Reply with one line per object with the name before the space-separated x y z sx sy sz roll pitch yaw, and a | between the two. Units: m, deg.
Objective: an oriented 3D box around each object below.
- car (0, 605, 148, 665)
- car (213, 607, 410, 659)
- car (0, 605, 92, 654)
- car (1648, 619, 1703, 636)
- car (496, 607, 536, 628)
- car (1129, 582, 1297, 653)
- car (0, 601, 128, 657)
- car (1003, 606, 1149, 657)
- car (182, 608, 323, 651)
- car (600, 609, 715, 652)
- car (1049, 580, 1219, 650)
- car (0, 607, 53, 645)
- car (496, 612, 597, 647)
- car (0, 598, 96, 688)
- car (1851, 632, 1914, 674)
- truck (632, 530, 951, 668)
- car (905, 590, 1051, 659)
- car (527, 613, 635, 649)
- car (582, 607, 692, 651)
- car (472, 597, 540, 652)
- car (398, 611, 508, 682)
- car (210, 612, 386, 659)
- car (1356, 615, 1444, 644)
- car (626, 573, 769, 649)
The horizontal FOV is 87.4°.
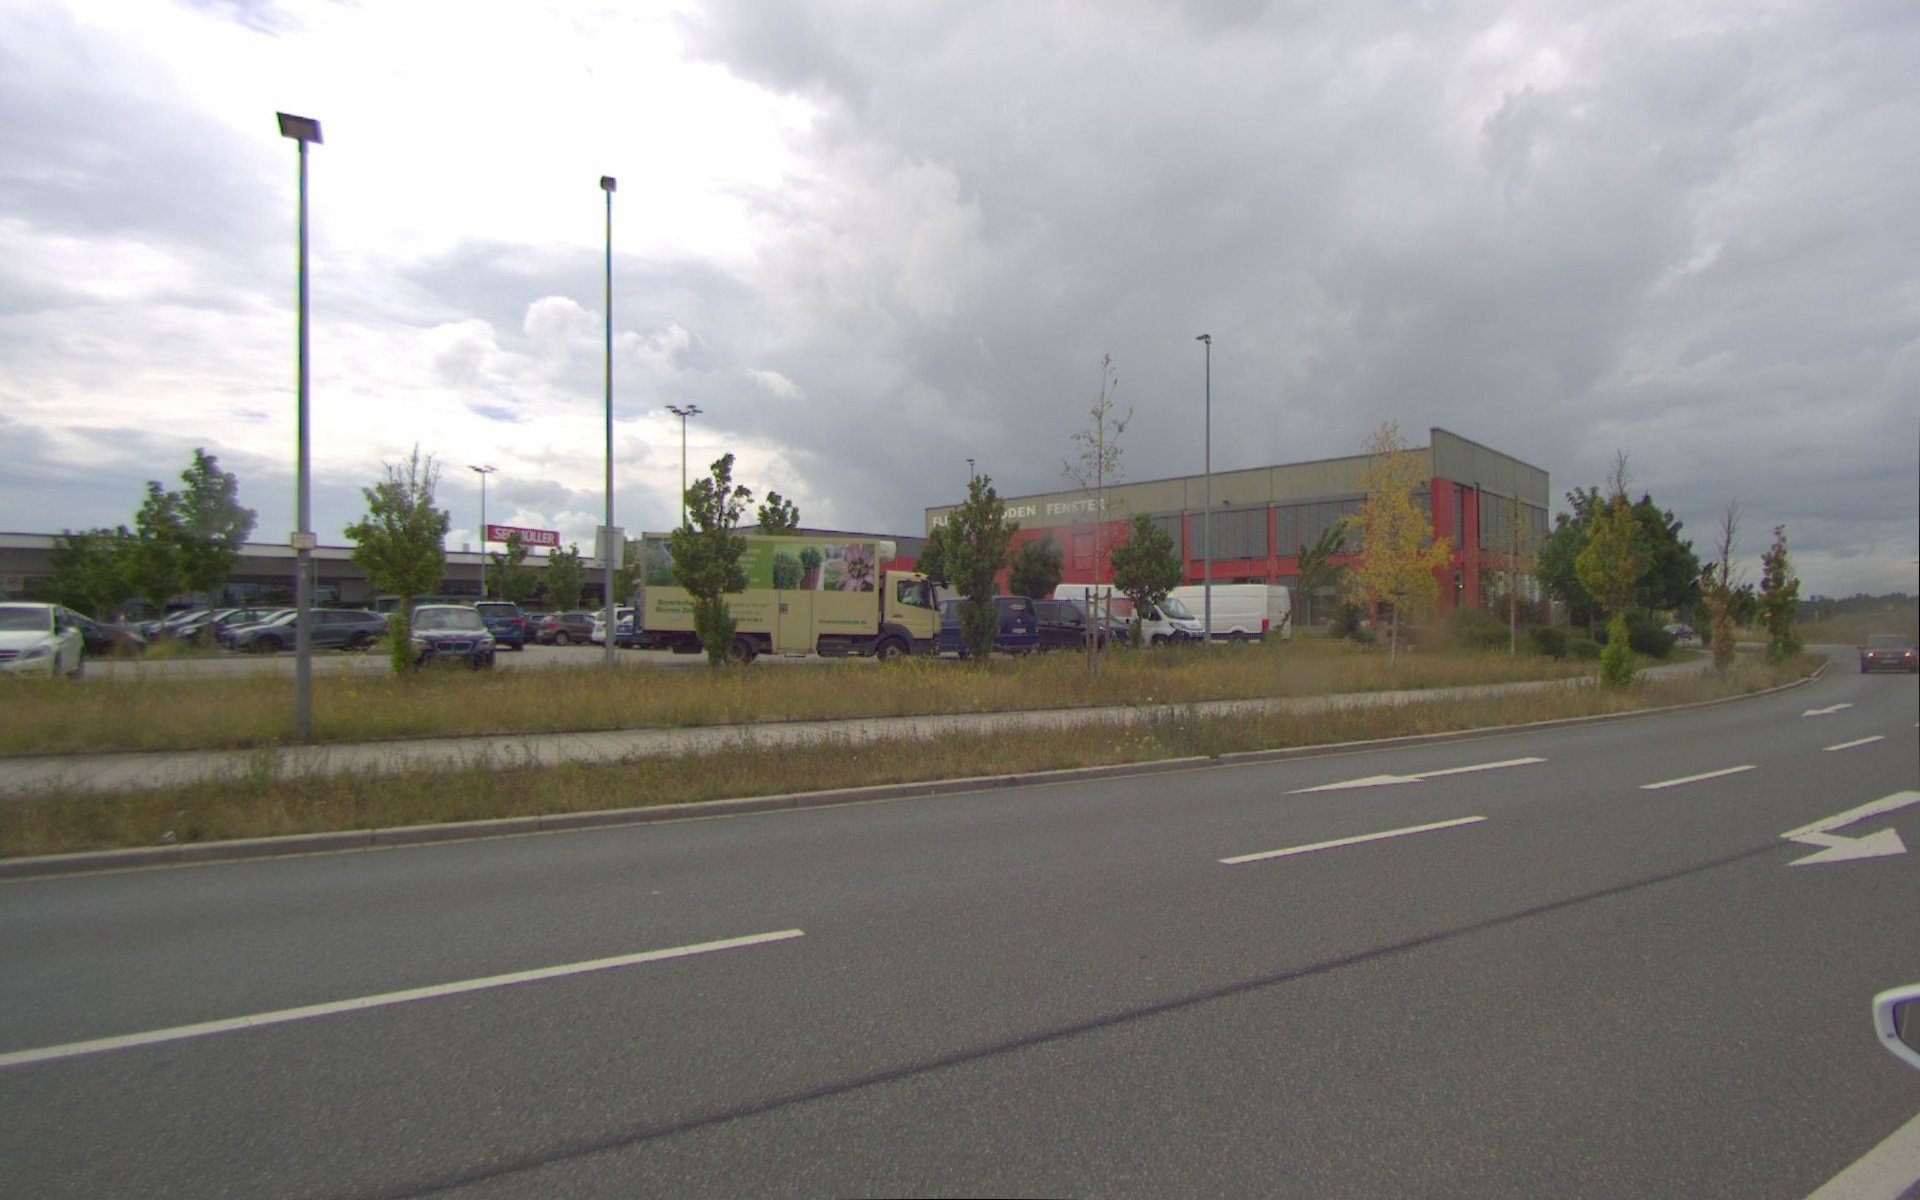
car | -26.065 0.981 28.909 1.972 1.628 3.978 -1 -2 42
car | -21.678 1.080 33.760 1.972 1.628 5.244 -1 -2 42
car | -32.133 0.999 33.998 1.971 1.628 3.978 -1 -2 42
car | 64.545 2.507 90.616 3.930 1.425 1.844 -1 -3 -12
car | -35.413 1.415 80.059 1.983 1.628 3.956 1 -2 -39
car | 9.977 0.707 40.074 2.228 2.633 6.347 1 -2 -43
car | -27.993 0.872 30.523 1.828 1.628 3.978 -1 -2 42
car | 3.945 1.066 34.706 4.850 1.638 1.983 -1 -2 44
car | -28.121 1.149 40.002 4.356 1.628 1.975 1 -2 -44
car | -12.025 1.211 40.124 1.972 1.628 3.978 -1 -2 42
car | 6.261 0.558 36.747 2.196 2.337 6.009 1 -2 -44
car | -45.352 1.208 47.134 1.972 1.755 3.978 -1 -2 42
car | -19.336 1.383 47.085 1.972 1.561 3.978 -1 -2 42
car | -18.130 0.797 19.156 1.968 1.580 4.221 1 -2 -34
car | 39.726 2.264 43.325 1.778 1.691 4.305 -4 -4 41
truck | -4.530 0.029 27.943 8.272 3.588 2.856 1 -1 -7
car | 0.484 0.788 31.823 2.158 2.016 4.868 1 -2 -36
car | -17.098 1.396 45.430 4.200 1.539 1.975 1 -2 -44
car | -13.540 1.212 42.196 1.972 1.752 3.978 -1 -2 42
car | -15.839 0.843 34.923 1.953 1.795 3.972 0 -2 -28
car | -11.542 1.000 22.730 1.975 1.454 4.211 0 -2 -31
car | -24.888 1.303 37.946 1.972 1.628 5.244 -1 -2 42
car | 25.047 1.657 57.314 4.298 1.572 2.001 0 -1 14
car | -9.980 0.451 38.533 2.033 2.726 5.123 -1 -2 39
